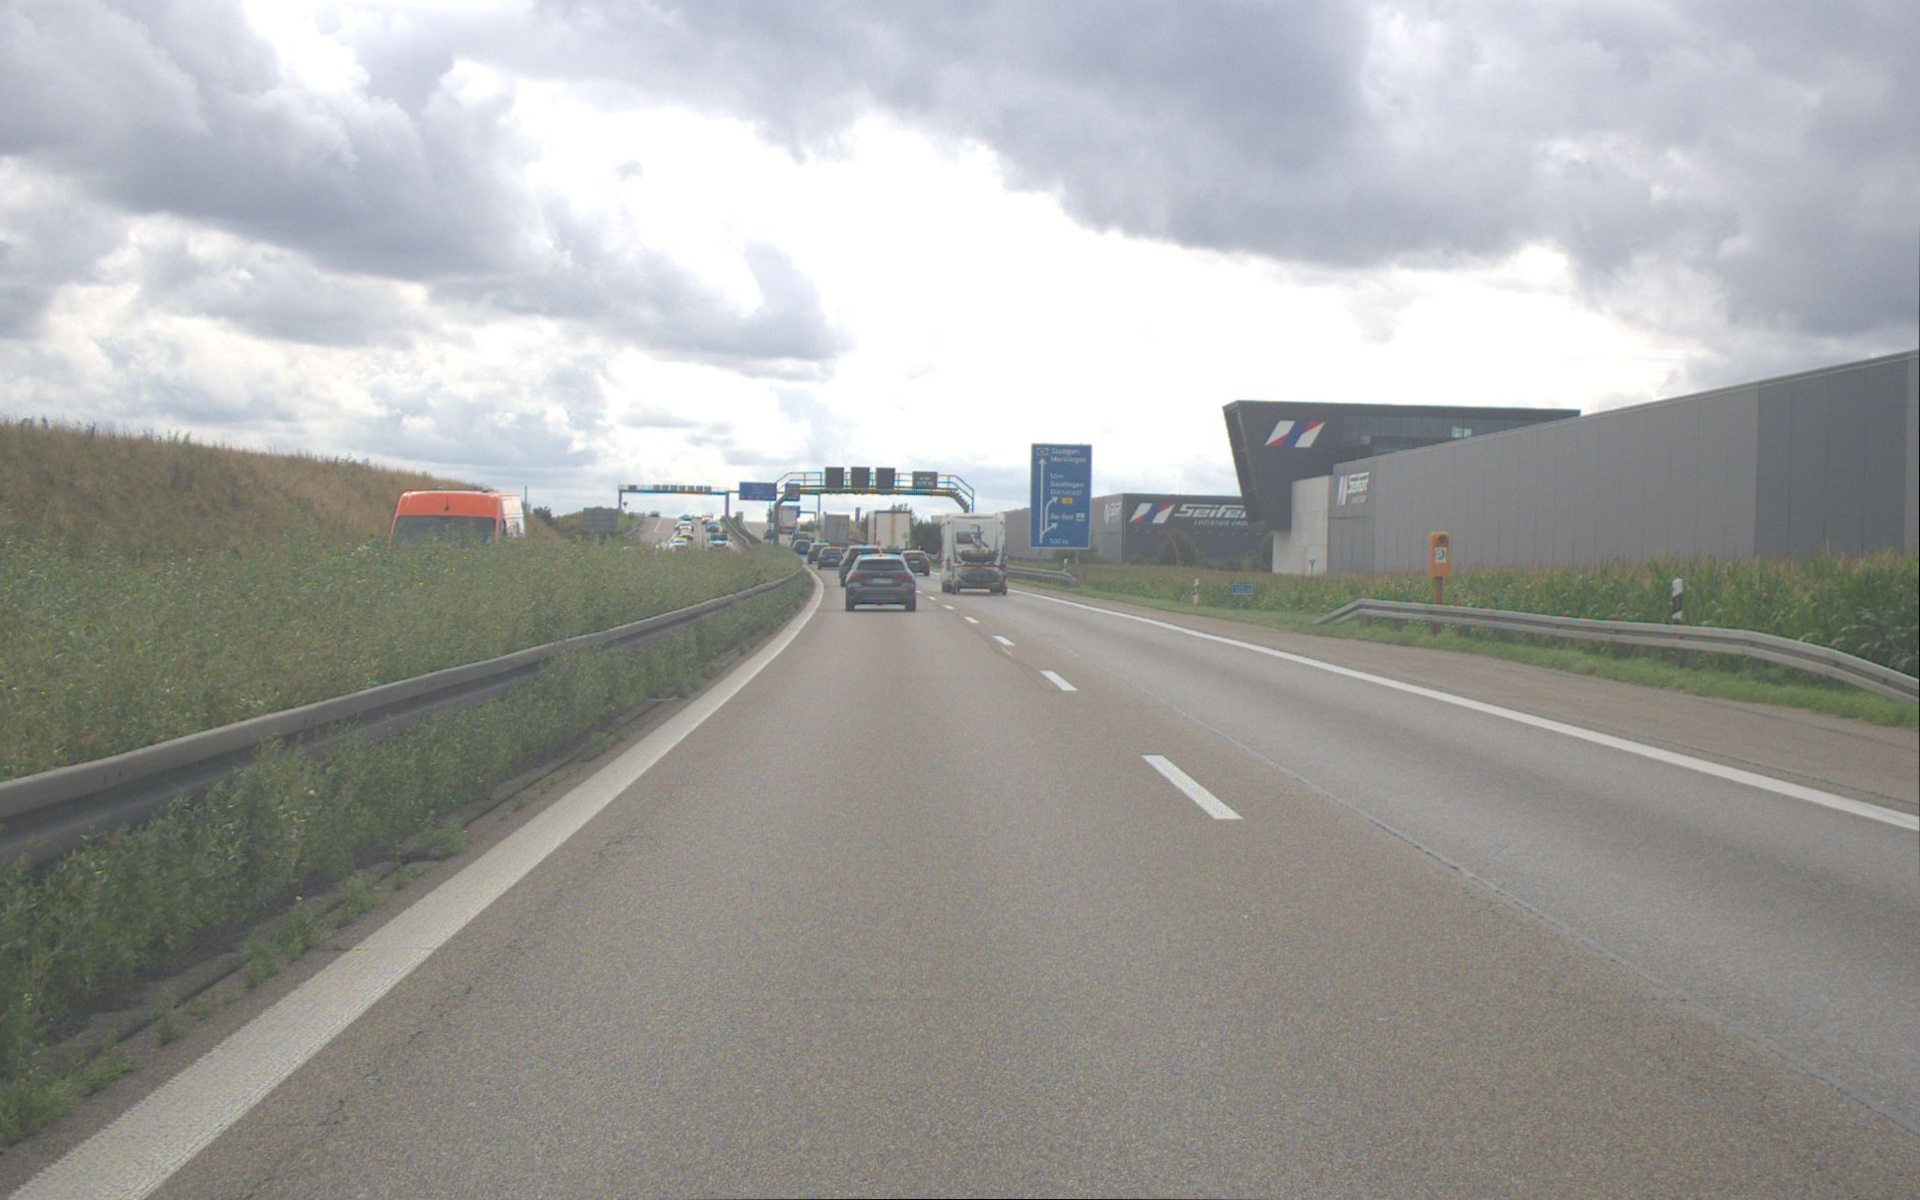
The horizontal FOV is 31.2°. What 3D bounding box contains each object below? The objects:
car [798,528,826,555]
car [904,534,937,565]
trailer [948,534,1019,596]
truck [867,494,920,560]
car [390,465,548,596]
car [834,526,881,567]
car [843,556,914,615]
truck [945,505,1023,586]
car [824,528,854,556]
[{"bbox_3d":[-11.184,-4.394,260.040,1.993,2.007,4.000,1,1,-1],"label":"car"},{"bbox_3d":[-2.265,-2.898,196.733,1.801,1.679,4.000,1,1,-2],"label":"car"},{"bbox_3d":[0.823,-1.246,121.314,2.338,2.129,4.000,1,1,-1],"label":"trailer"},{"bbox_3d":[-4.729,-5.125,243.322,3.339,4.518,8.018,1,1,-4],"label":"truck"},{"bbox_3d":[-8.911,-1.243,62.831,2.124,2.259,5.453,1,1,-1],"label":"car"},{"bbox_3d":[-4.365,-2.267,146.435,1.945,1.679,4.000,1,1,-1],"label":"car"},{"bbox_3d":[-2.078,-0.379,88.056,1.746,1.448,4.000,1,1,-1],"label":"car"},{"bbox_3d":[0.856,-2.023,128.212,2.481,2.940,5.816,1,1,-4],"label":"truck"},{"bbox_3d":[-8.018,-3.825,227.770,1.943,1.769,3.696,1,1,-2],"label":"car"}]
